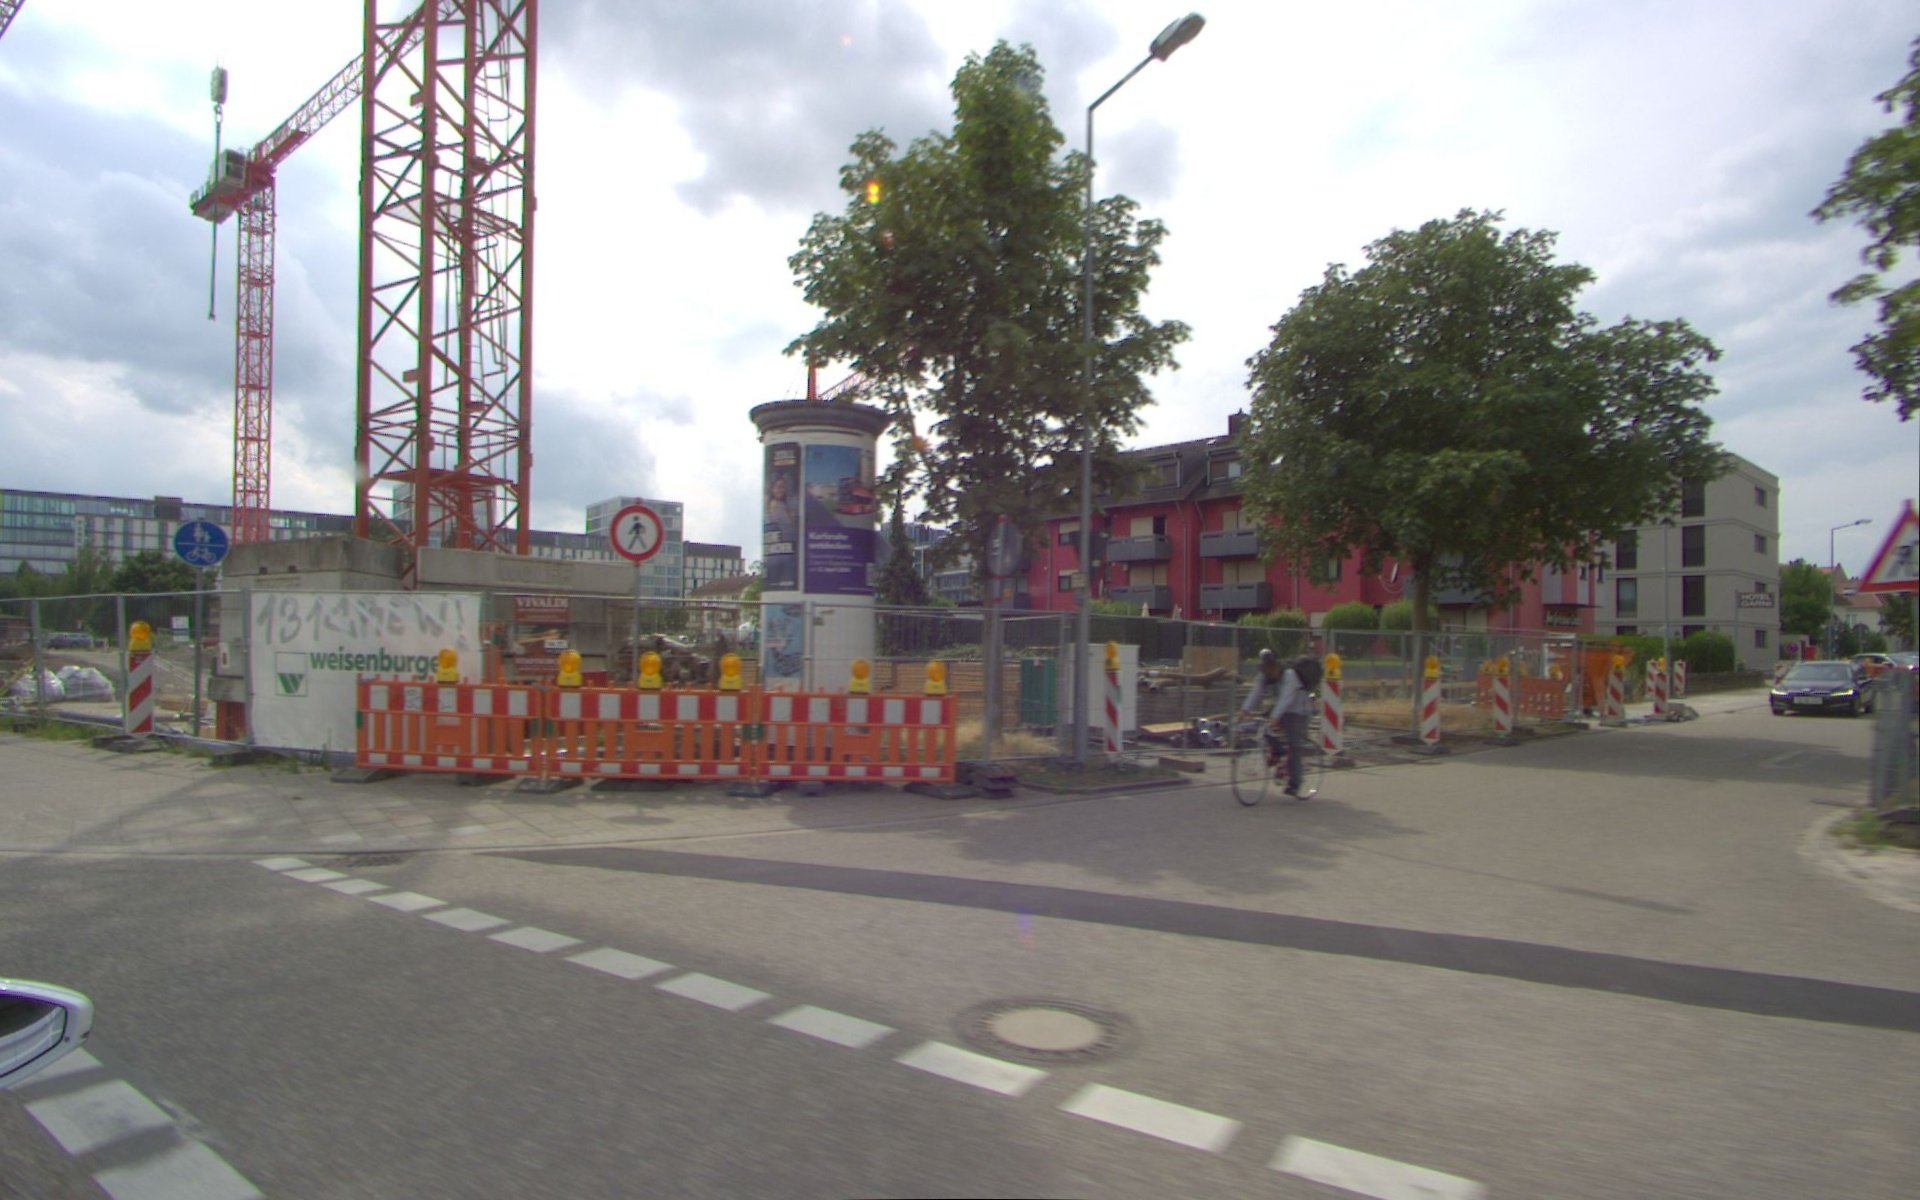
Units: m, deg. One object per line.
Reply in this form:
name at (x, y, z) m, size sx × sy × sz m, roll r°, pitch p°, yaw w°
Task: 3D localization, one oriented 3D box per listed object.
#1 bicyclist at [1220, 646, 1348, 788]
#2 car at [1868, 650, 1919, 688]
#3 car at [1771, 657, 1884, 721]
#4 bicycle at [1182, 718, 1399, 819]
bicyclist at (3.485, 1.251, 10.768) m, size 1.065 × 1.430 × 0.712 m, roll 5°, pitch -3°, yaw -27°
car at (42.921, 3.105, 45.285) m, size 2.228 × 1.613 × 4.429 m, roll -2°, pitch -4°, yaw 36°
car at (23.896, 2.383, 27.527) m, size 4.141 × 1.613 × 1.860 m, roll 3°, pitch -4°, yaw -42°
bicycle at (3.599, 1.775, 10.820) m, size 2.443 × 0.945 × 0.712 m, roll 3°, pitch -2°, yaw -27°
